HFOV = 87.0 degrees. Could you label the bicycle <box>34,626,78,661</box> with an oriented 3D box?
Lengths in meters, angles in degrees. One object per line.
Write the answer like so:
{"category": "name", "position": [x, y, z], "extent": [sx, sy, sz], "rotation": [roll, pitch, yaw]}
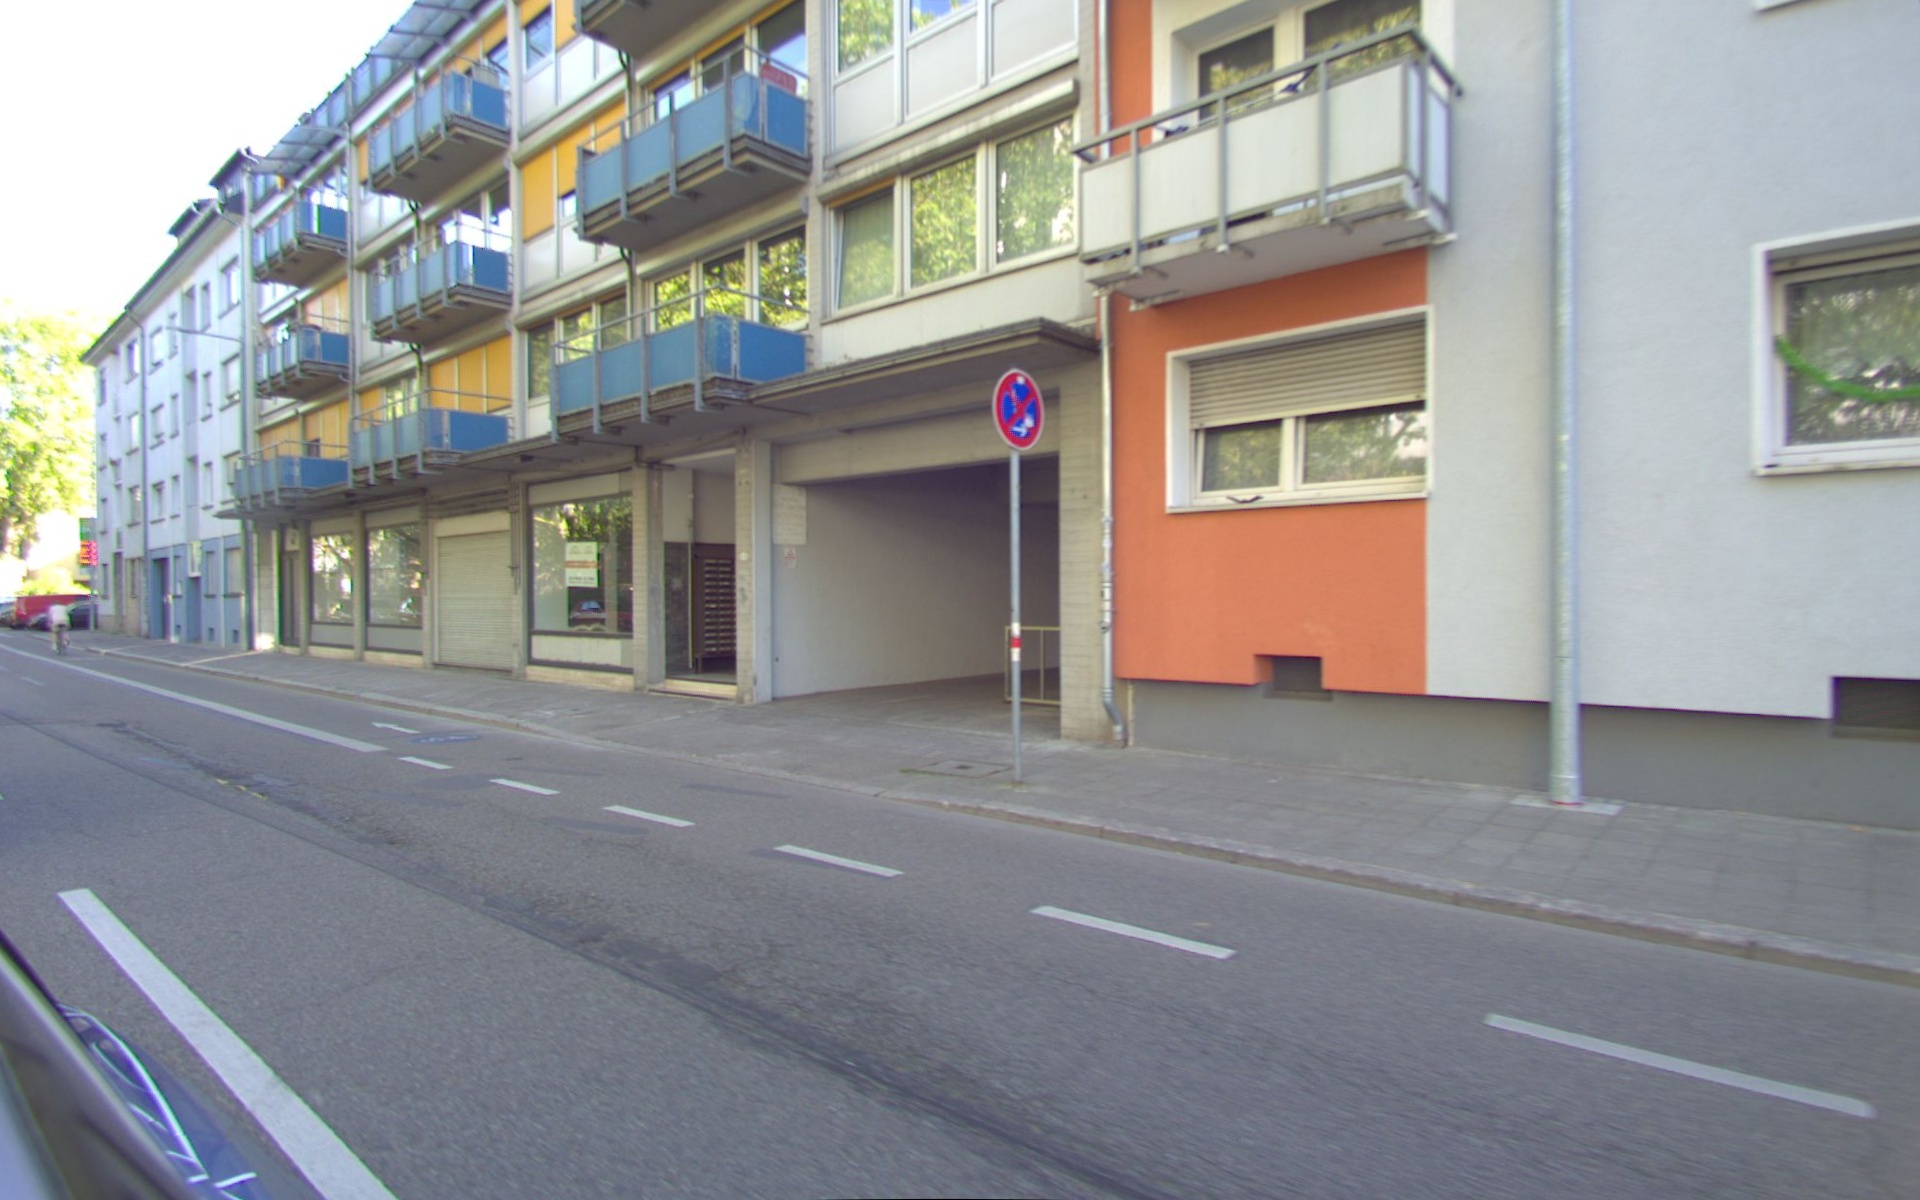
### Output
{"category": "bicycle", "position": [-27.952, 1.323, 31.273], "extent": [2.630, 0.994, 0.683], "rotation": [0, 0, 41]}

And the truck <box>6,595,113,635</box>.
{"category": "truck", "position": [-51.160, 0.820, 57.564], "extent": [1.876, 2.174, 4.348], "rotation": [0, 1, 40]}

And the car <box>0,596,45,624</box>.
{"category": "car", "position": [-70.003, 0.723, 74.321], "extent": [1.998, 2.029, 3.947], "rotation": [0, 1, 39]}

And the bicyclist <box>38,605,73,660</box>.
{"category": "bicyclist", "position": [-27.990, 0.992, 31.318], "extent": [0.758, 1.643, 0.683], "rotation": [0, -1, 40]}

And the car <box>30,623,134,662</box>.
{"category": "car", "position": [-47.028, 2.243, 54.255], "extent": [1.829, 1.849, 3.947], "rotation": [0, 1, 40]}
